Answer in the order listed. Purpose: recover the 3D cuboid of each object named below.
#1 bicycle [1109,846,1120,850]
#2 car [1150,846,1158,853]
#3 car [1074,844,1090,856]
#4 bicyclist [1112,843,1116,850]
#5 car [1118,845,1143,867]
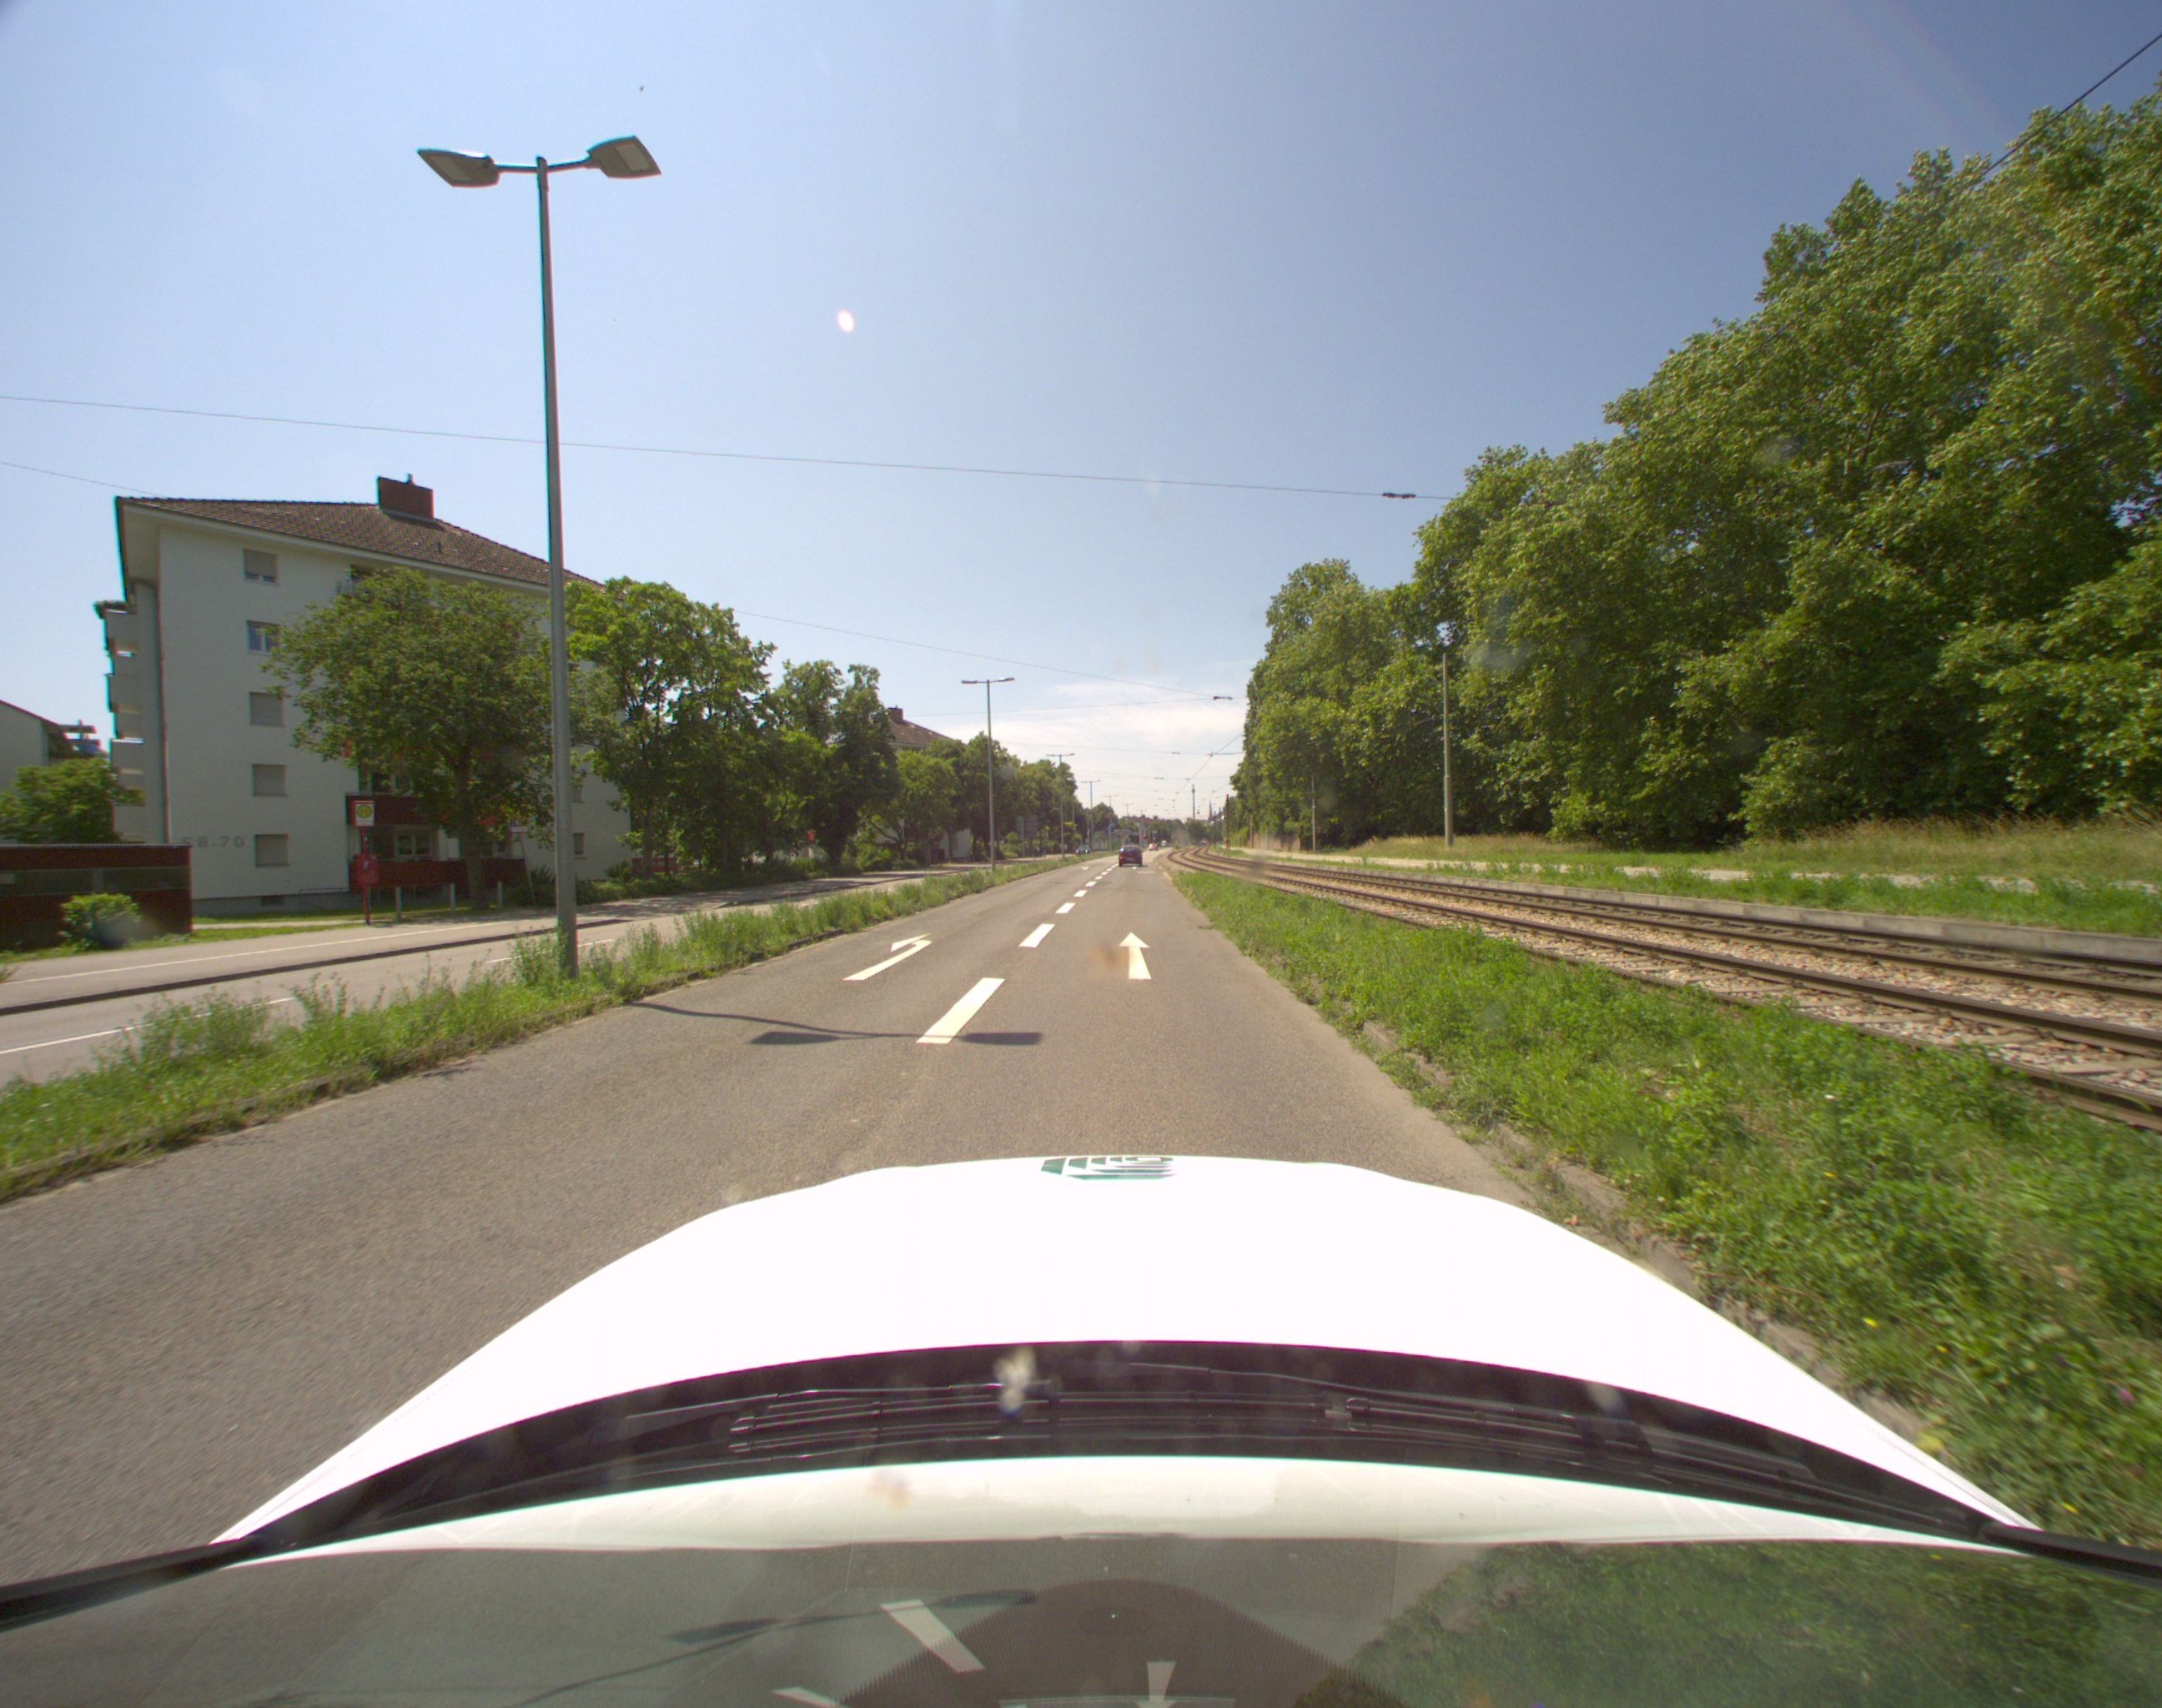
[{"bbox_3d":[8.640,-1.494,210.215,2.546,1.038,1.086,0,0,-6],"label":"bicycle"},{"bbox_3d":[15.474,-0.953,172.719,1.695,1.480,3.720,0,0,4],"label":"car"},{"bbox_3d":[0.145,-0.603,125.930,1.914,1.626,4.763,-3,0,5],"label":"car"},{"bbox_3d":[8.588,-1.951,210.242,0.943,1.593,1.086,0,-1,-5],"label":"bicyclist"},{"bbox_3d":[3.492,0.139,57.039,1.695,1.477,3.720,-1,-1,4],"label":"car"}]
